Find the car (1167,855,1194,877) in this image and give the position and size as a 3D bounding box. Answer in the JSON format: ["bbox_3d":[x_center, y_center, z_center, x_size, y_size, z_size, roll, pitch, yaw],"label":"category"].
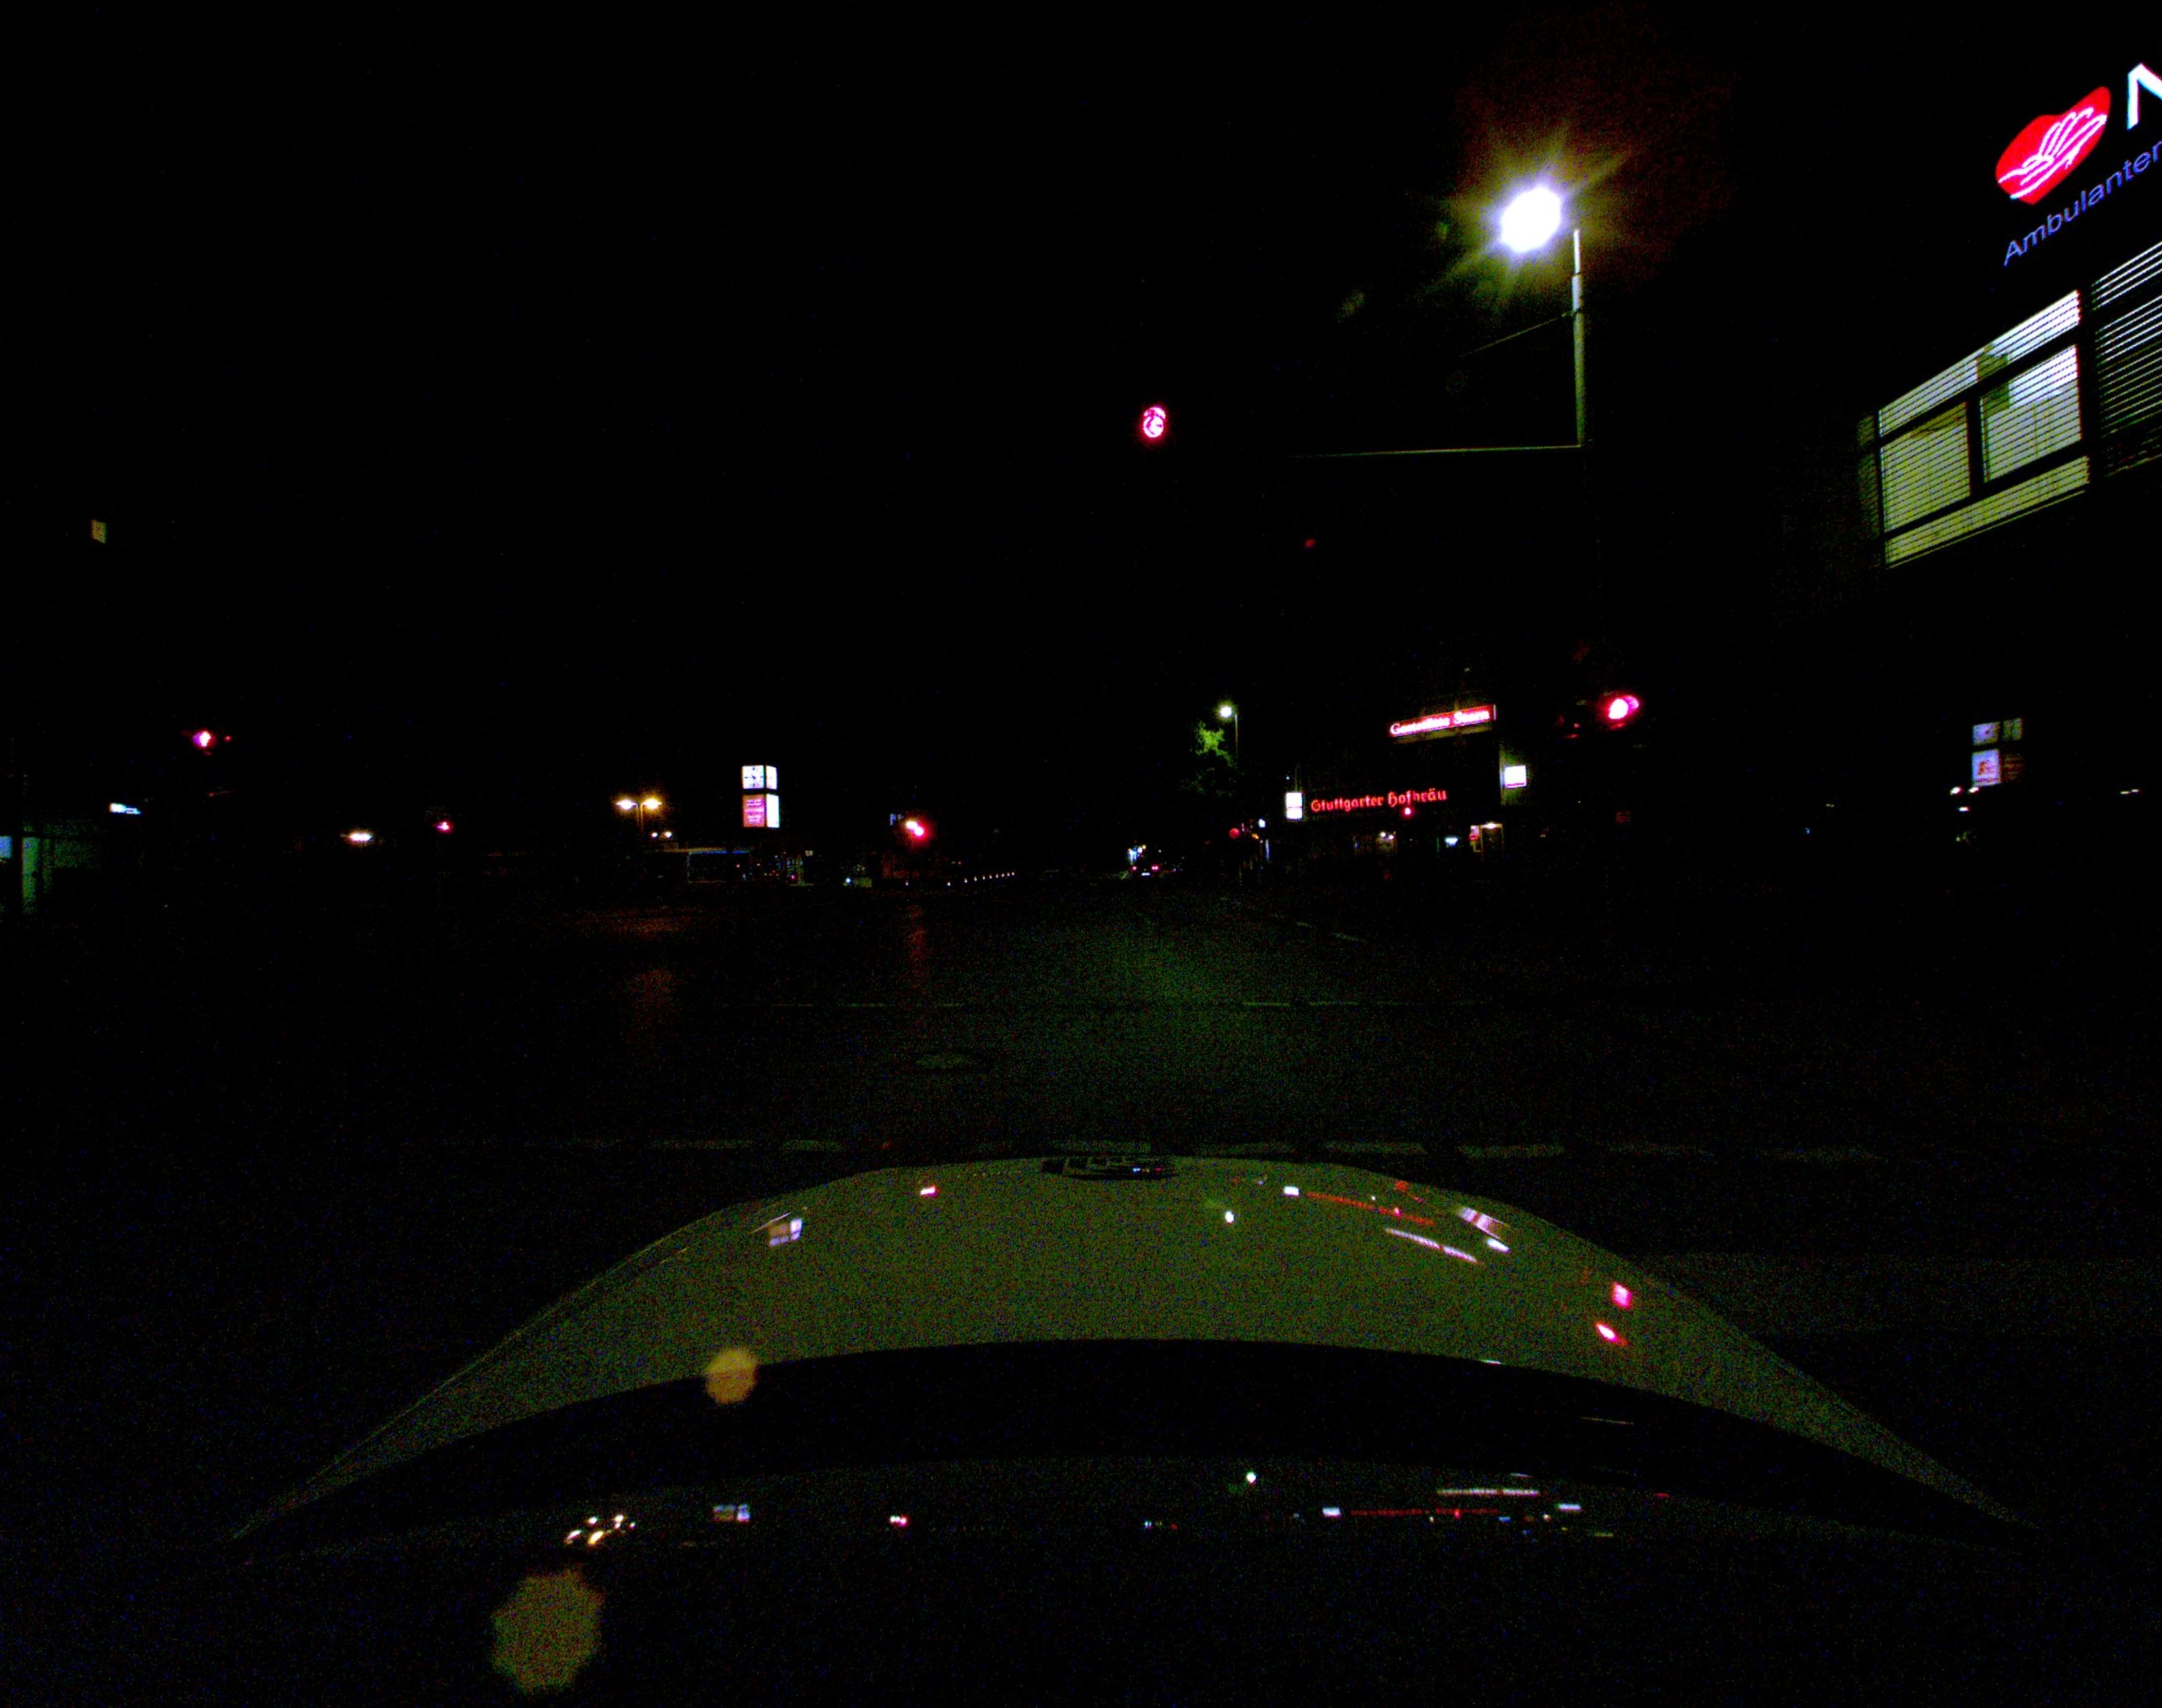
[{"bbox_3d":[7.696,0.936,63.457,1.868,1.615,4.005,-2,-1,5],"label":"car"}]

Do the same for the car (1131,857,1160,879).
[{"bbox_3d":[4.401,0.921,55.853,1.866,1.454,4.320,0,0,3],"label":"car"}]

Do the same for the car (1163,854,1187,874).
[{"bbox_3d":[7.884,0.829,68.774,1.868,1.615,4.005,-2,-1,5],"label":"car"}]

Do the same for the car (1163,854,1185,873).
[{"bbox_3d":[8.679,0.875,76.431,1.868,1.729,4.005,-2,-1,5],"label":"car"}]

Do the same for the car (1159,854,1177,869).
[{"bbox_3d":[10.049,0.897,94.451,1.868,1.683,4.005,-2,-1,5],"label":"car"}]
